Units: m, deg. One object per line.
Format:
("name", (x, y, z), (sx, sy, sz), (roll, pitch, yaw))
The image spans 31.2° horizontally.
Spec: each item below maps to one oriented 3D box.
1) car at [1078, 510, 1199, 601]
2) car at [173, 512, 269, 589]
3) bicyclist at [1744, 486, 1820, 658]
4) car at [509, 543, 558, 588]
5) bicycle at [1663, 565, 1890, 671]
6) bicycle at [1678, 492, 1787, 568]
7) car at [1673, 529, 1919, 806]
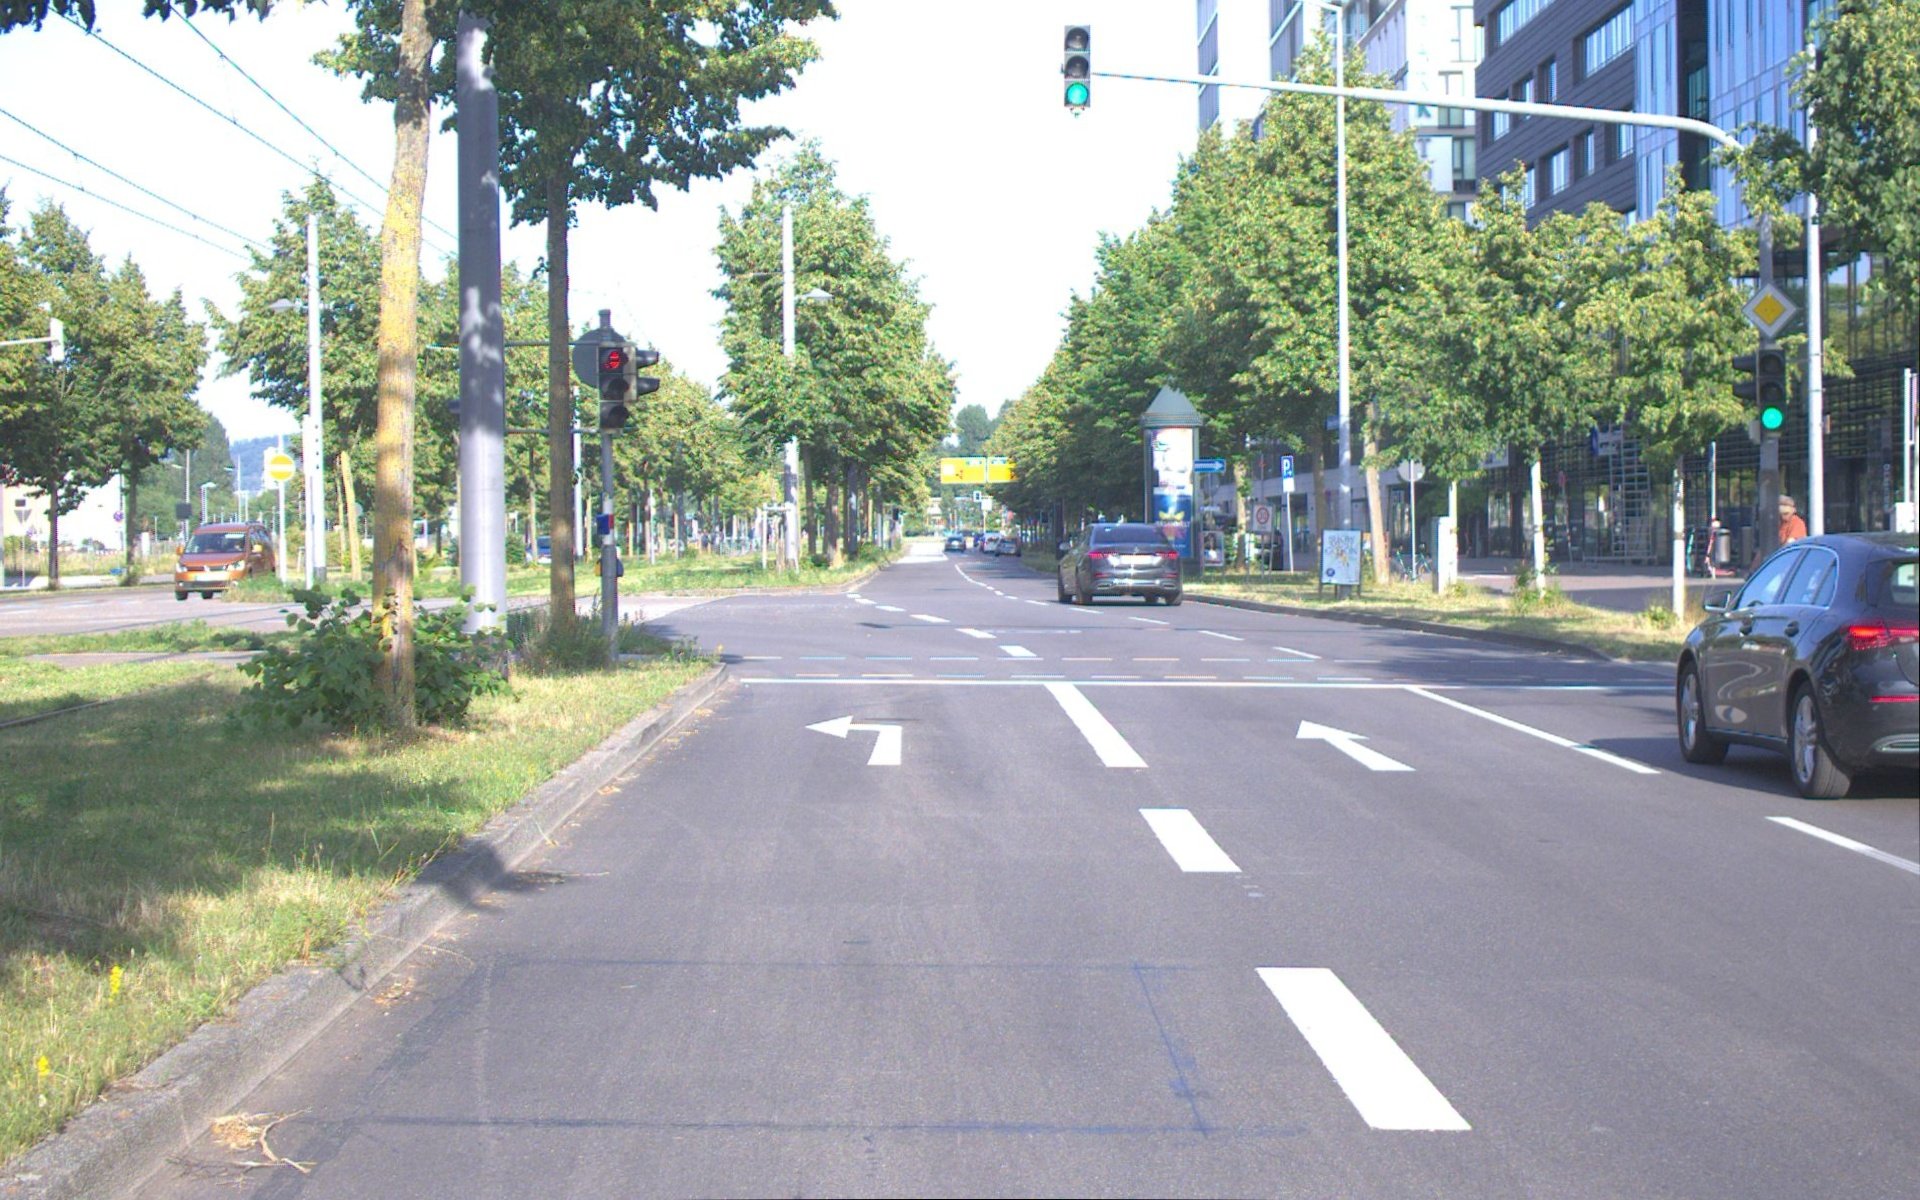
("car", (3.088, -0.781, 60.128), (1.859, 1.519, 3.786), (1, 1, 0))
("car", (-17.653, -1.183, 82.290), (1.684, 1.769, 3.883), (1, 1, -4))
("bicyclist", (8.257, -0.282, 34.545), (0.574, 1.701, 0.541), (1, 1, -4))
("car", (-19.432, -1.591, 156.733), (1.779, 2.007, 4.000), (1, 1, -1))
("bicycle", (8.208, 0.177, 34.588), (2.134, 1.009, 0.571), (1, 1, -4))
("bicycle", (18.194, -1.652, 80.985), (2.436, 1.740, 0.554), (1, 1, 9))
("car", (5.398, 0.332, 19.690), (1.774, 1.419, 3.961), (1, 1, 0))
